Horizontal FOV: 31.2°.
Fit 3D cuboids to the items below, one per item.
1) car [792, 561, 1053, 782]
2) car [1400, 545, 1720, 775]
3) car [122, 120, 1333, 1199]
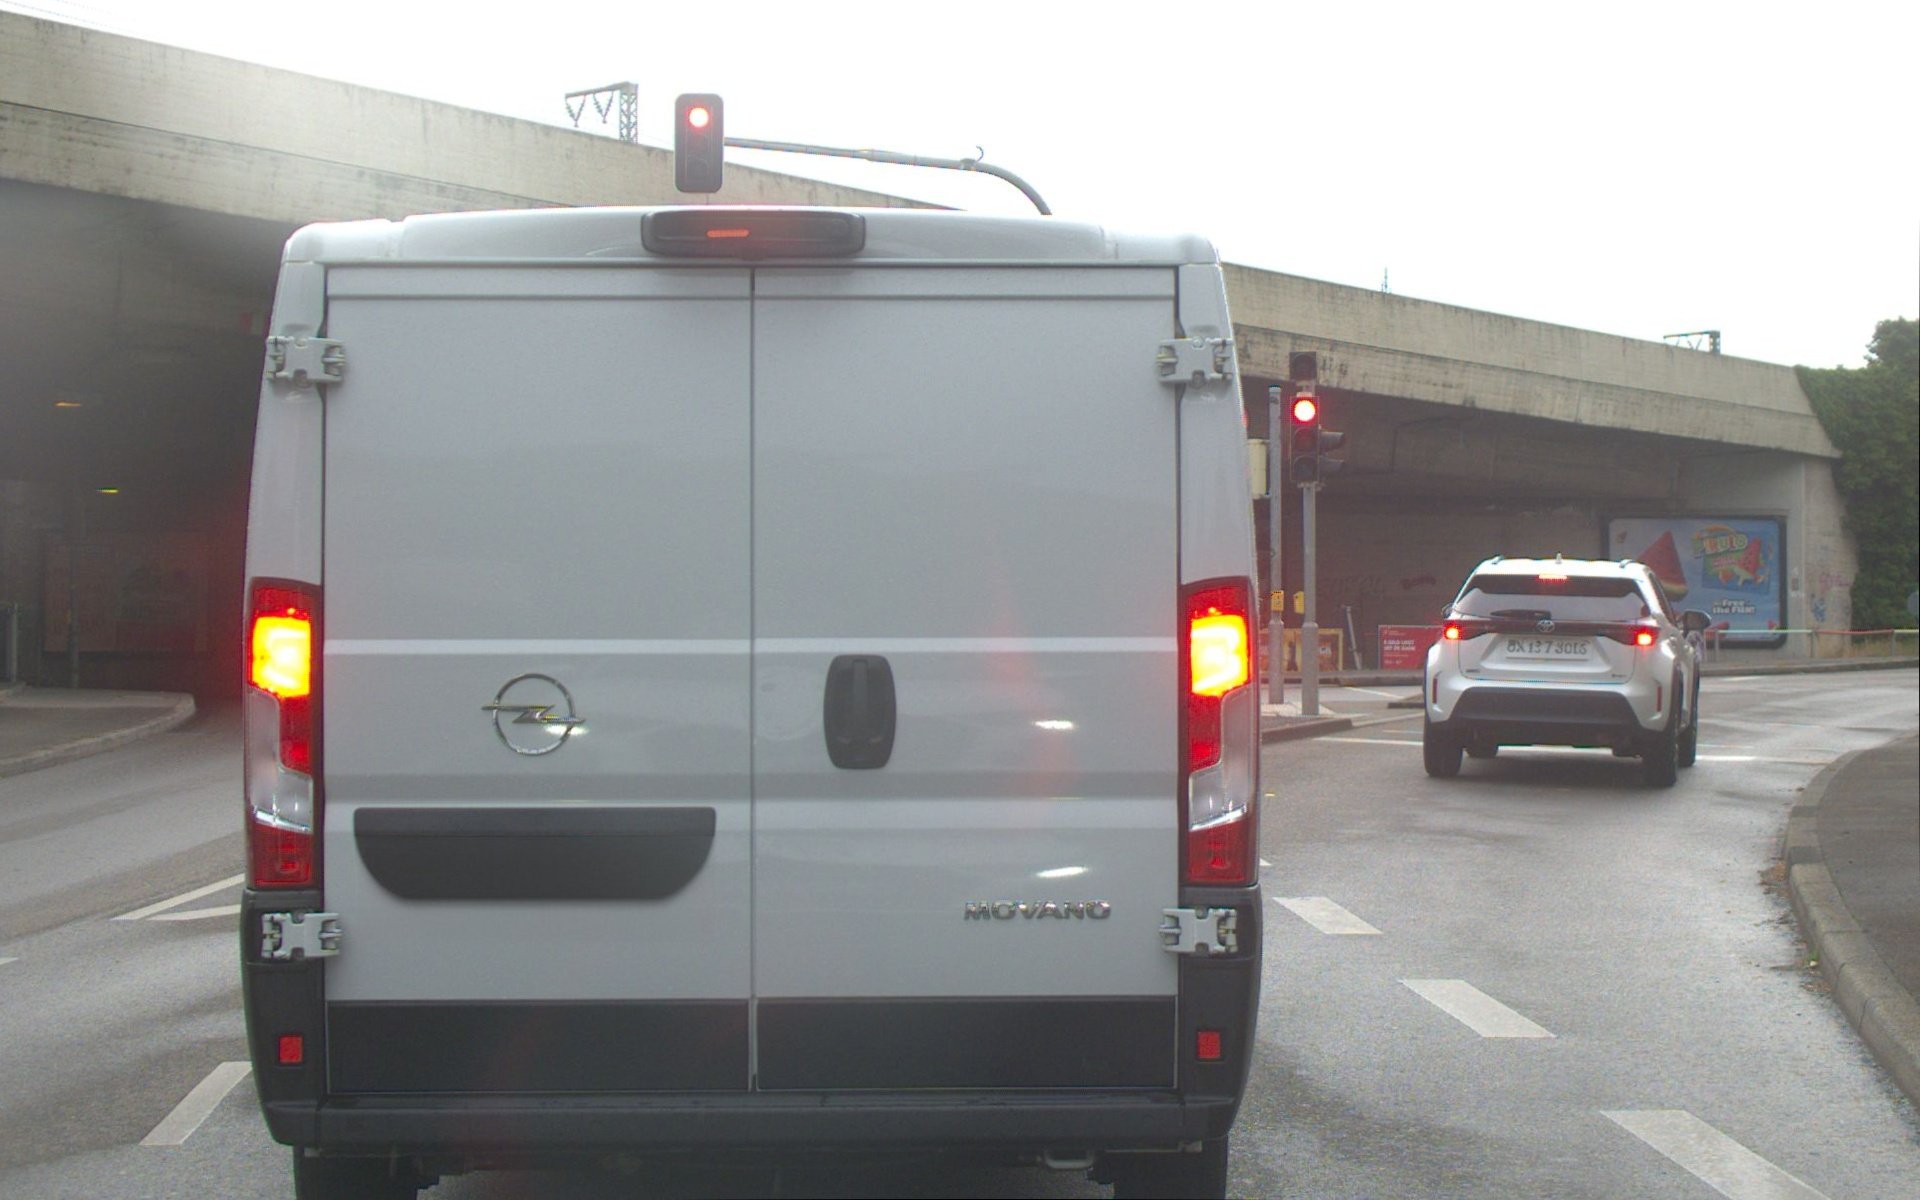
[{"bbox_3d":[-0.241,0.584,28.910,1.994,1.723,3.999,0,-1,2],"label":"car"},{"bbox_3d":[4.485,0.402,25.240,1.995,1.544,3.997,0,0,15],"label":"car"},{"bbox_3d":[-0.539,0.225,9.208,2.305,2.335,5.283,0,1,-2],"label":"car"}]
